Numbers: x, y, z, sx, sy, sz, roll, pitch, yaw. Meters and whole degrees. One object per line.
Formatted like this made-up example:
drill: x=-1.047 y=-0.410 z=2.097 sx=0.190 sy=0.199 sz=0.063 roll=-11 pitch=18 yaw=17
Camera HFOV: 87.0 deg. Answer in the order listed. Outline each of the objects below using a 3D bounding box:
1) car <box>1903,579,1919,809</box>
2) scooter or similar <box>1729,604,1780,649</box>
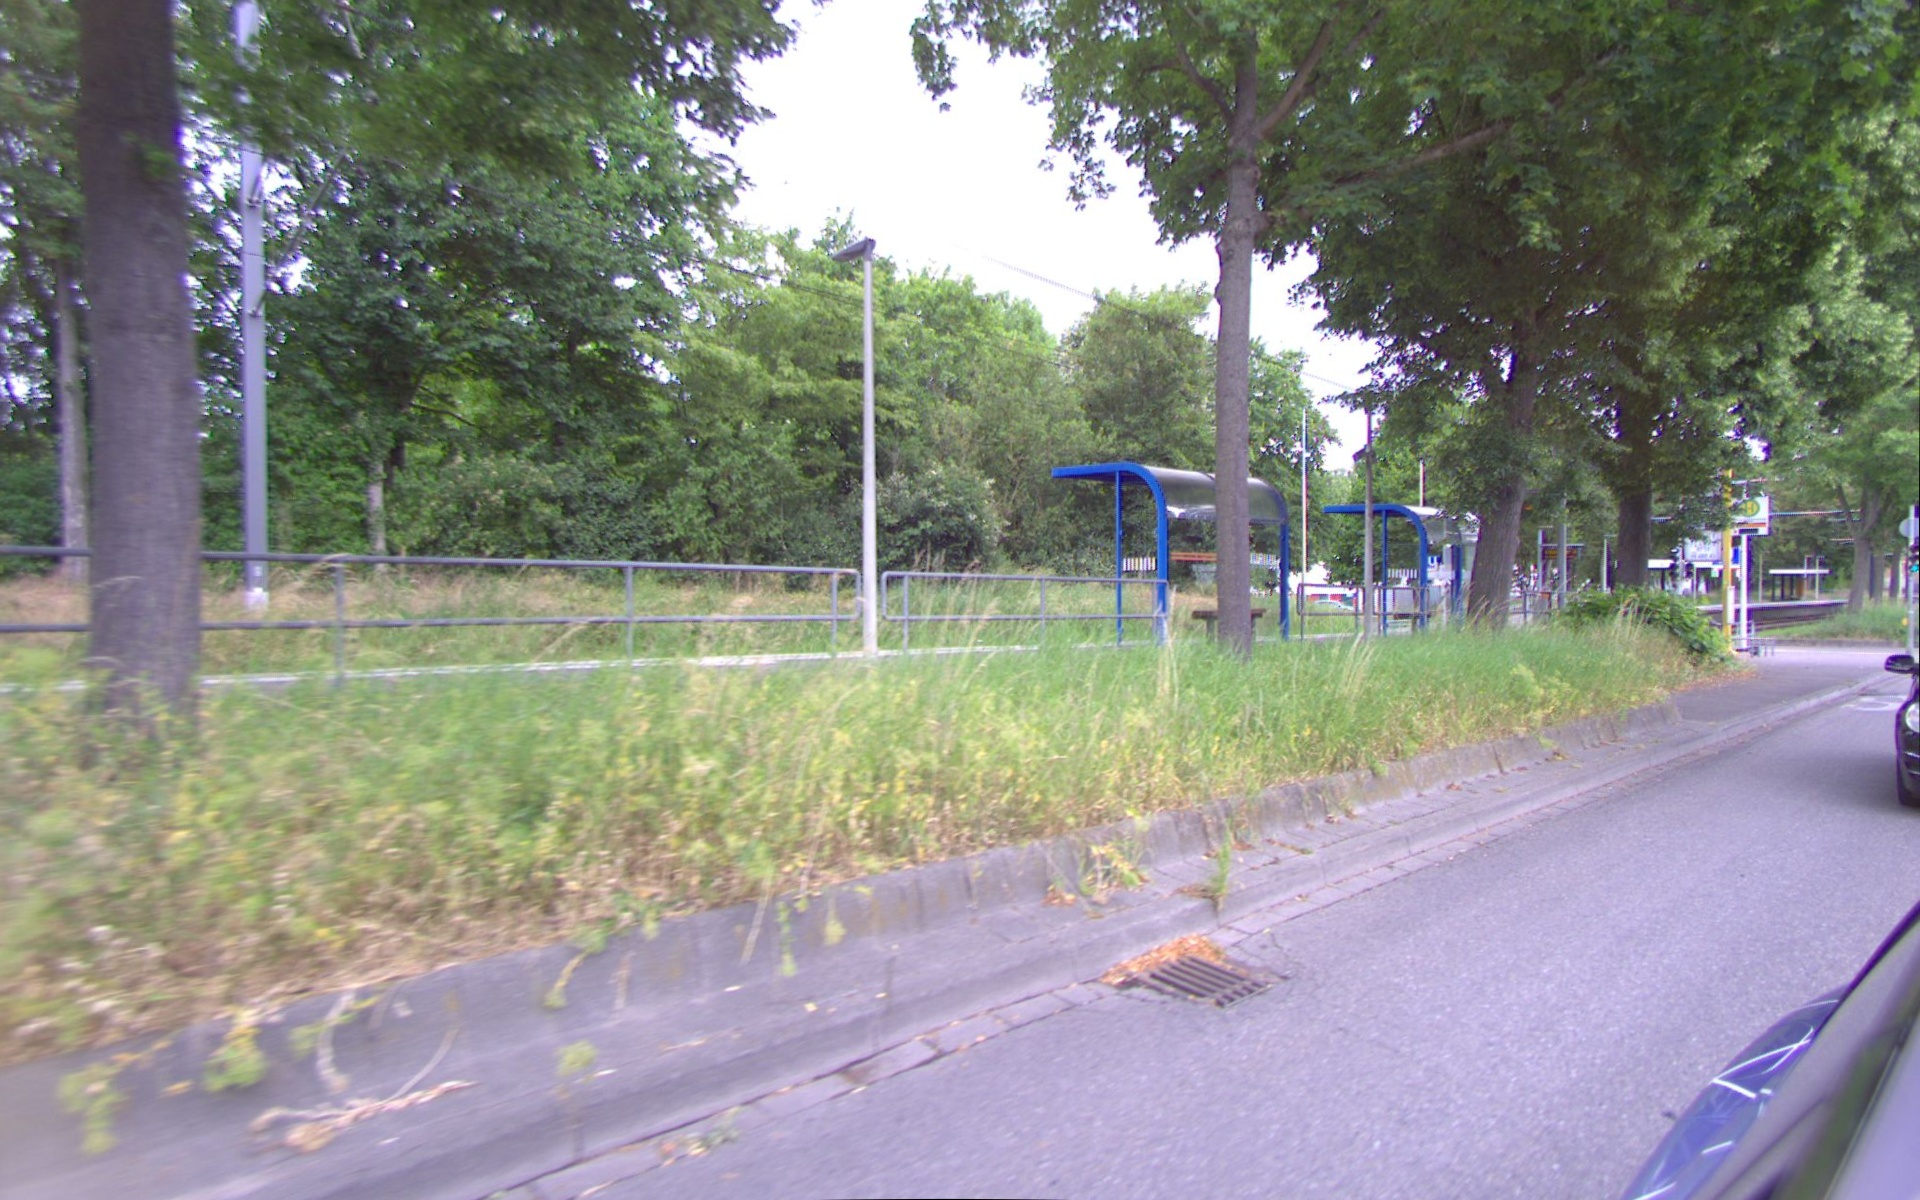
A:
car: x=8.780 y=0.638 z=7.903 sx=4.406 sy=1.594 sz=1.681 roll=0 pitch=-1 yaw=-42
scooter or similar: x=22.082 y=0.721 z=28.142 sx=1.084 sy=1.223 sz=0.358 roll=1 pitch=0 yaw=42
